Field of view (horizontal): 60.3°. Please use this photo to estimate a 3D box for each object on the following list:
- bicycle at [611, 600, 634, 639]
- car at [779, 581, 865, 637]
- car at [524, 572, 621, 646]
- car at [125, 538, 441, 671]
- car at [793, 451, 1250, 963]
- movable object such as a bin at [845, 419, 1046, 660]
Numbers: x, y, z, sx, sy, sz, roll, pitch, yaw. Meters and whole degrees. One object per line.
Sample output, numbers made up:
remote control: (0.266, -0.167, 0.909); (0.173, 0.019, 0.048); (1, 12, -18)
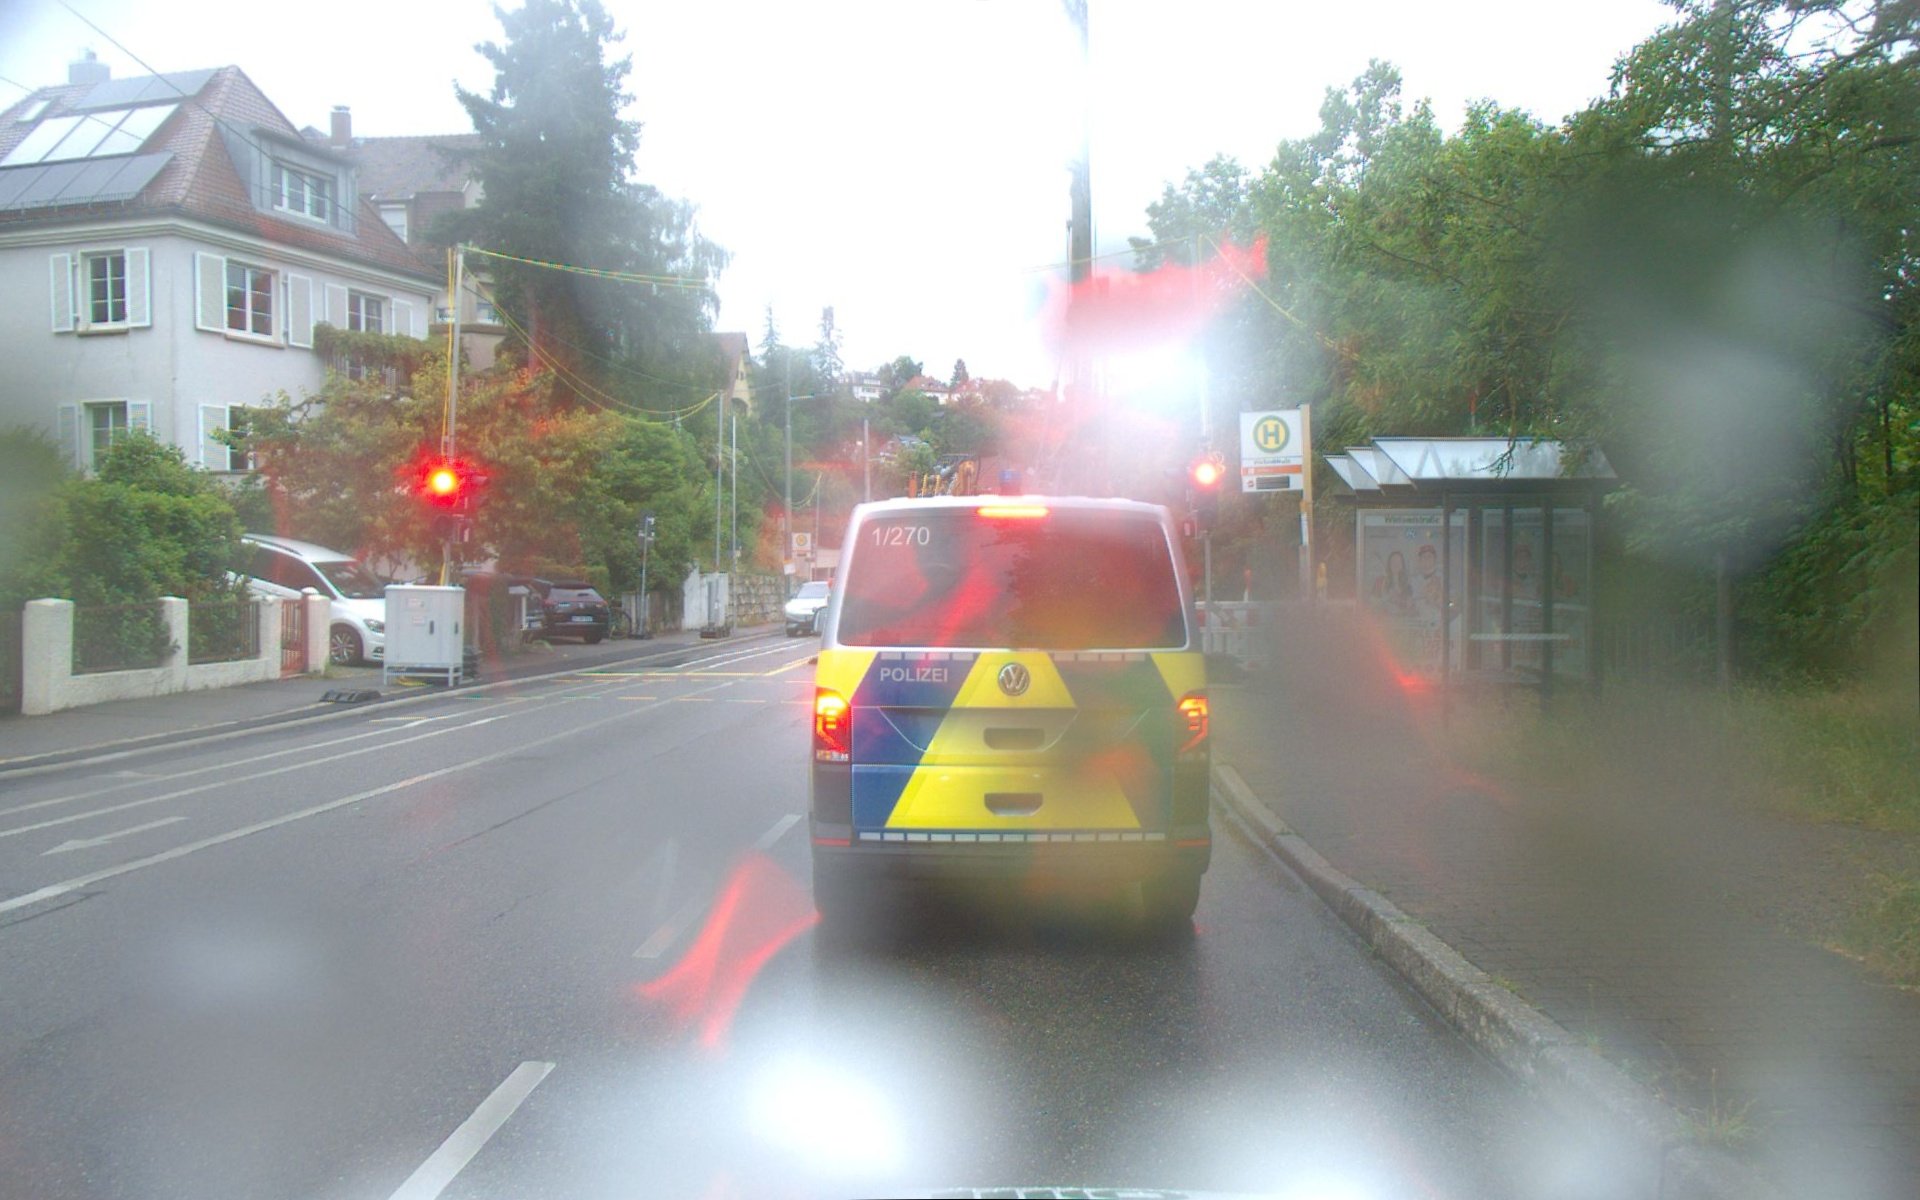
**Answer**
bicycle: (-8.054, 0.456, 39.462); (0.455, 0.913, 1.628); (0, 0, -15)
car: (-3.984, 0.263, 48.456); (1.814, 1.554, 4.822); (1, 0, 4)
car: (-8.911, 0.166, 37.836); (1.739, 1.512, 3.721); (1, 2, -20)
car: (-11.209, 0.048, 27.498); (4.532, 2.042, 1.902); (1, 0, 11)
car: (0.228, 0.431, 8.829); (1.855, 2.086, 3.999); (1, 0, -1)
movable object such as a bin: (-0.166, -1.103, 31.647); (2.770, 4.250, 4.384); (1, 0, 14)
